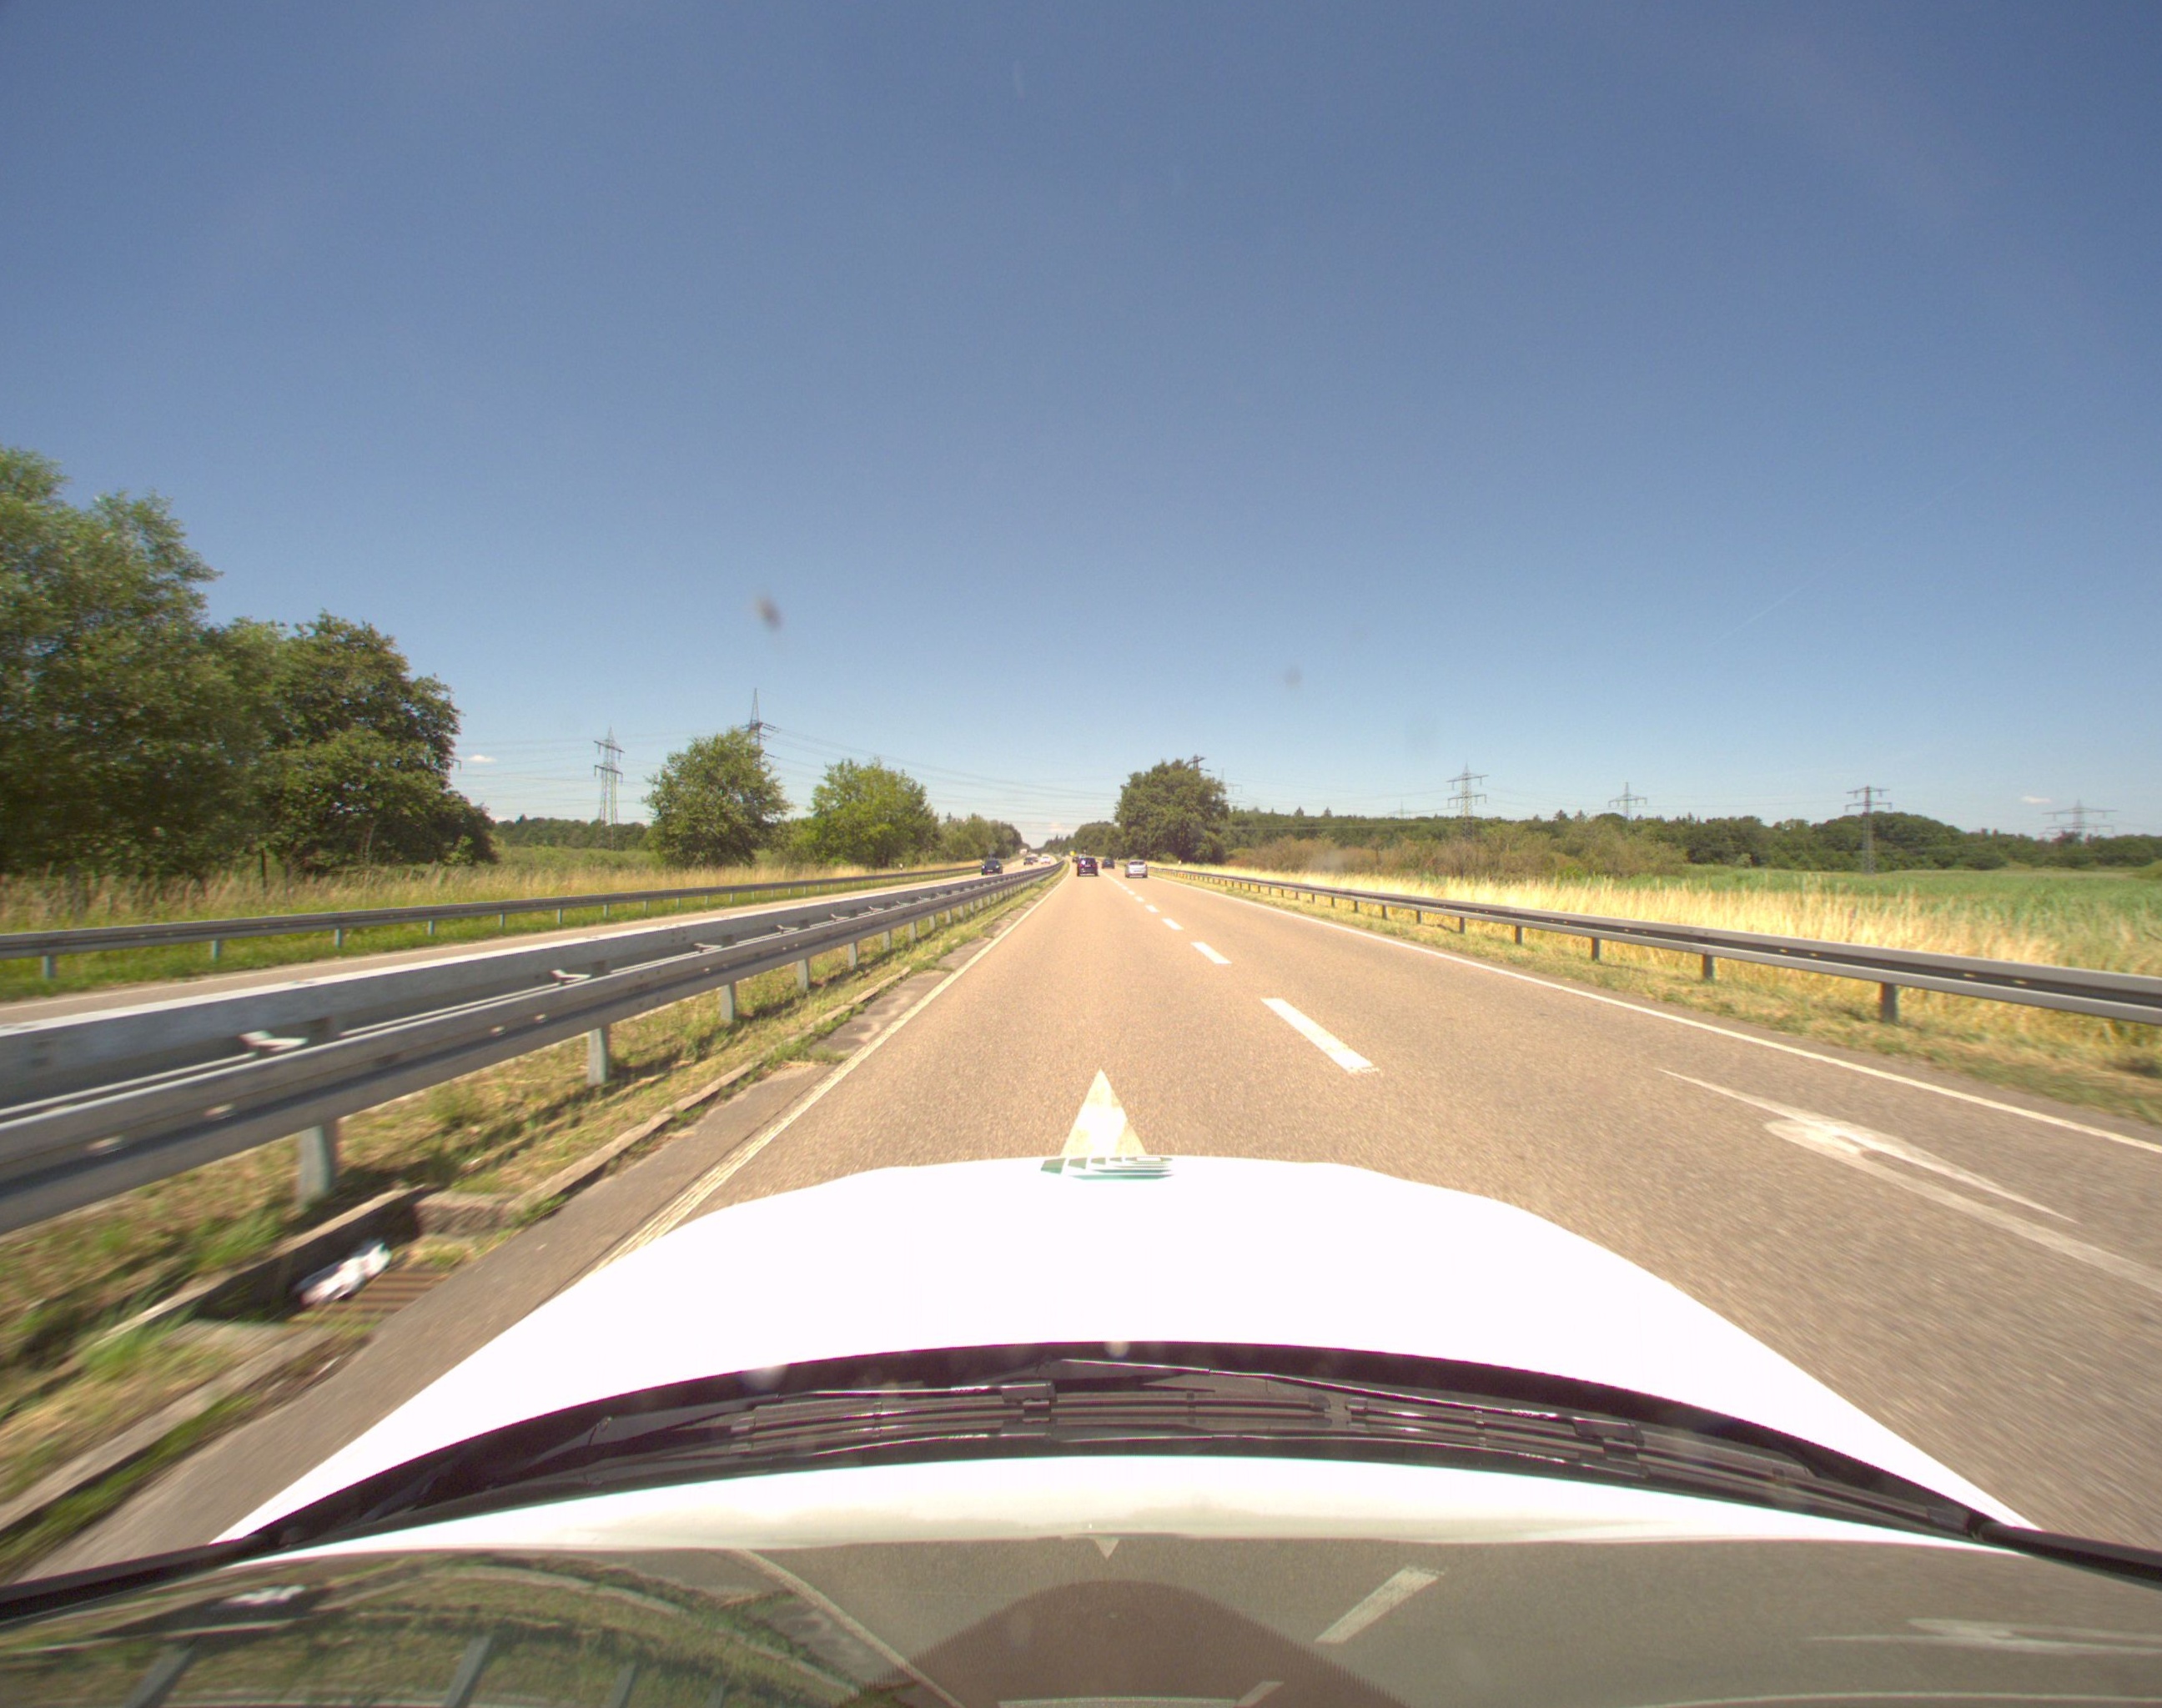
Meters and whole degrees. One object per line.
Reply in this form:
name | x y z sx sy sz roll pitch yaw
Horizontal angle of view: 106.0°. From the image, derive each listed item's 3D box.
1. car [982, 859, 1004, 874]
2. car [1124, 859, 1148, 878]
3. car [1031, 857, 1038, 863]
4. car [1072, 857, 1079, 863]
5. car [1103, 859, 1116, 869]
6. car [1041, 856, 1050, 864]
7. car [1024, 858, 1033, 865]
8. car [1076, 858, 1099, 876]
car | -9.238 1.327 85.656 1.824 1.475 3.685 -1 -1 1
car | 4.518 1.205 67.204 1.772 1.479 4.316 -1 0 2
car | -11.810 1.459 207.643 1.509 1.475 3.066 3 -1 1
car | -1.205 1.417 191.611 1.509 1.475 3.067 -1 -1 1
car | 3.992 1.364 115.798 1.812 1.414 4.001 -1 0 2
car | -7.682 1.378 177.608 1.989 1.662 3.996 -1 -1 -3
car | -10.567 1.535 163.978 1.610 1.475 3.063 -1 -1 -3
car | 0.617 1.175 75.034 1.986 1.654 4.001 -1 -1 1
